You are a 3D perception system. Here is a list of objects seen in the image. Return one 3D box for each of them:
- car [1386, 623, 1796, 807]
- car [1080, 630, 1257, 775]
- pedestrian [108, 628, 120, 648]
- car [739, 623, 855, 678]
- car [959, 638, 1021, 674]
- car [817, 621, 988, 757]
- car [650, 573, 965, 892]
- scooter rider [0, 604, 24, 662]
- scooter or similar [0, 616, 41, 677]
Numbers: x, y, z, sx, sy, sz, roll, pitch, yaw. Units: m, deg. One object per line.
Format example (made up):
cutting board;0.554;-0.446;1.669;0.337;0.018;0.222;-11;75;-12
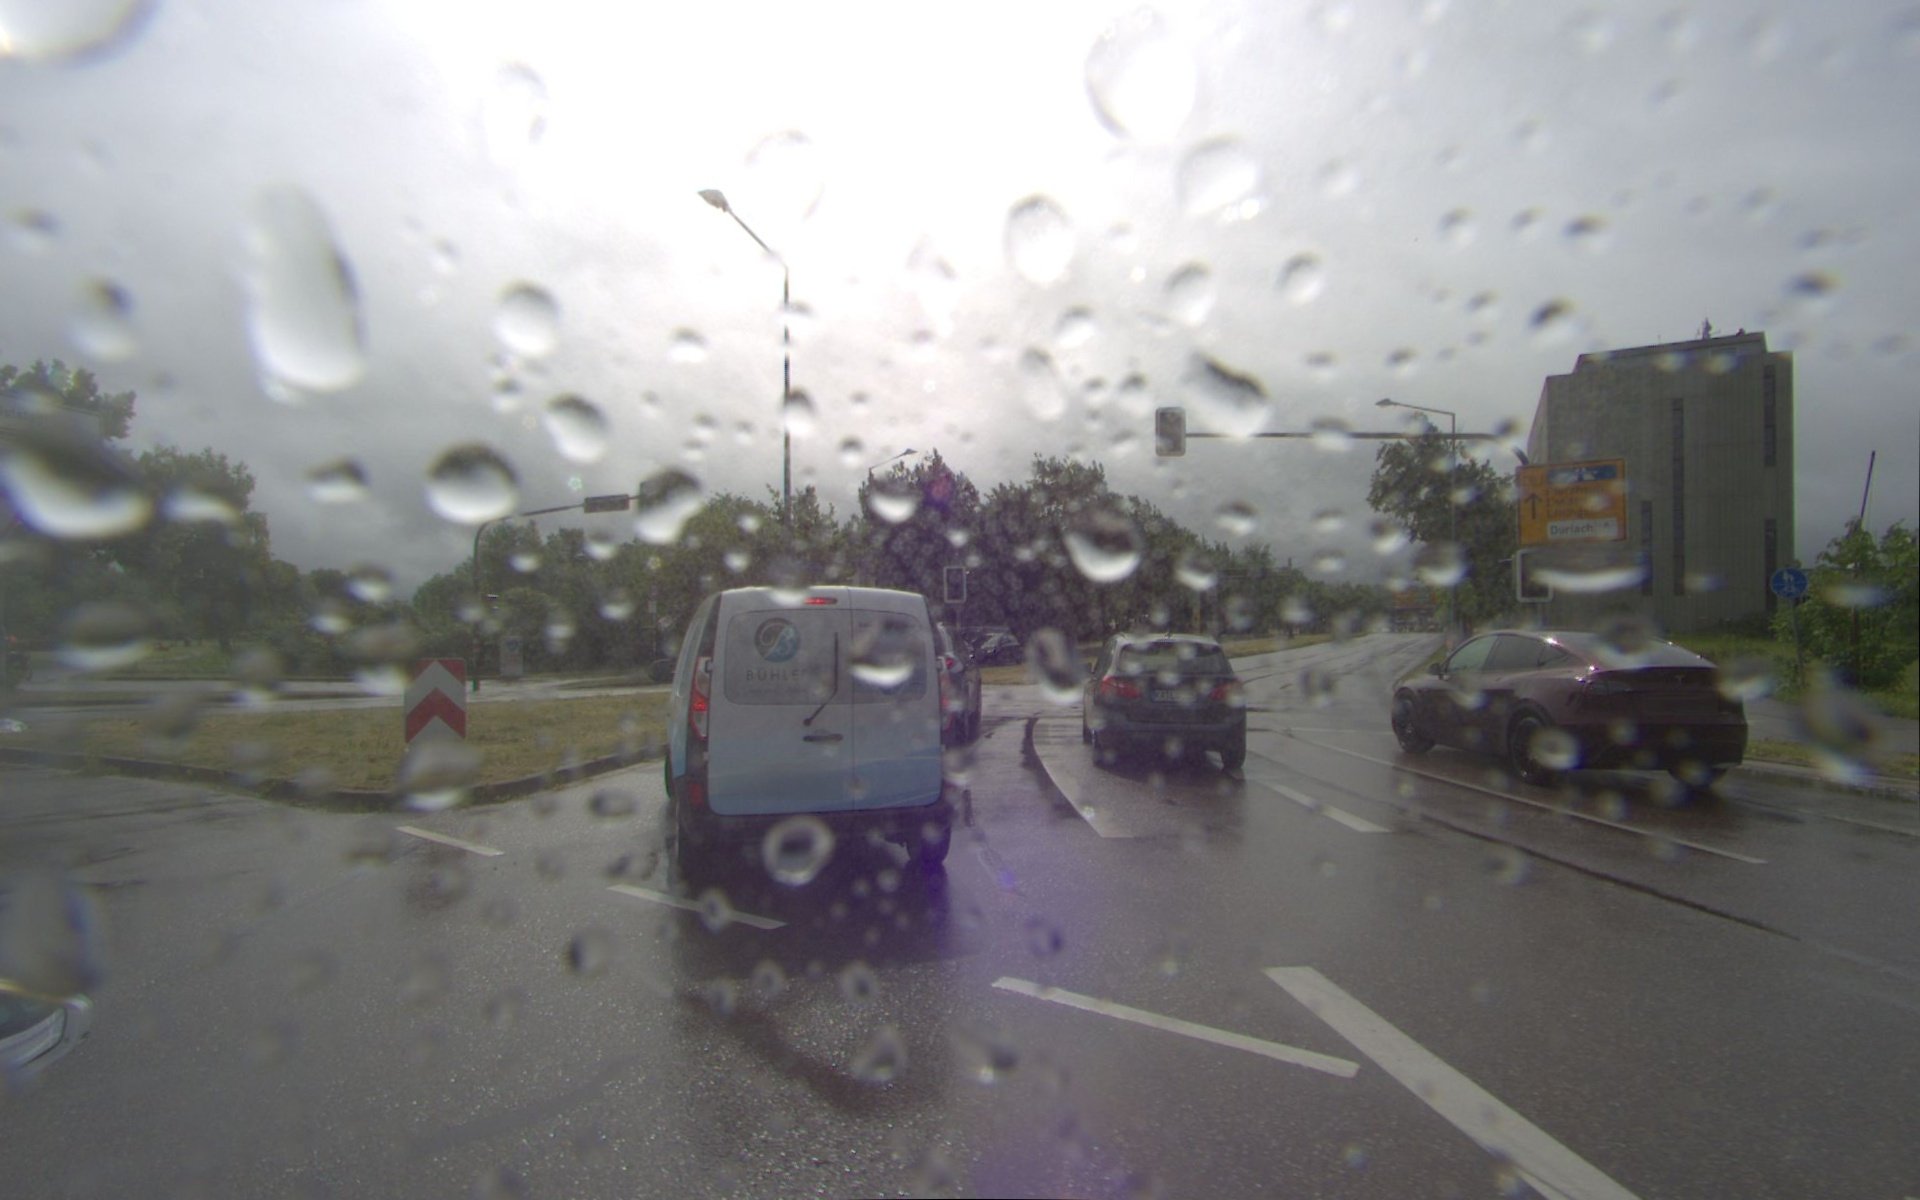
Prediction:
car;6.807;1.116;11.524;1.838;1.678;4.500;1;-1;0
car;2.512;1.175;12.938;1.775;1.547;4.001;0;-1;5
pedestrian;-75.775;3.437;89.692;0.588;1.753;0.605;0;-3;-16
car;-6.280;1.939;39.197;2.046;2.013;4.784;0;-2;27
car;1.471;2.631;47.633;1.543;1.601;3.589;0;-2;28
car;-0.723;1.226;15.521;2.002;1.780;4.323;1;-1;5
car;-1.506;0.826;8.058;1.835;1.785;4.545;1;-2;-17
scooter rider;-34.122;1.193;35.891;0.762;2.038;0.701;-3;-3;40
scooter or similar;-33.474;1.681;35.534;1.227;2.038;3.380;2;-4;-42
